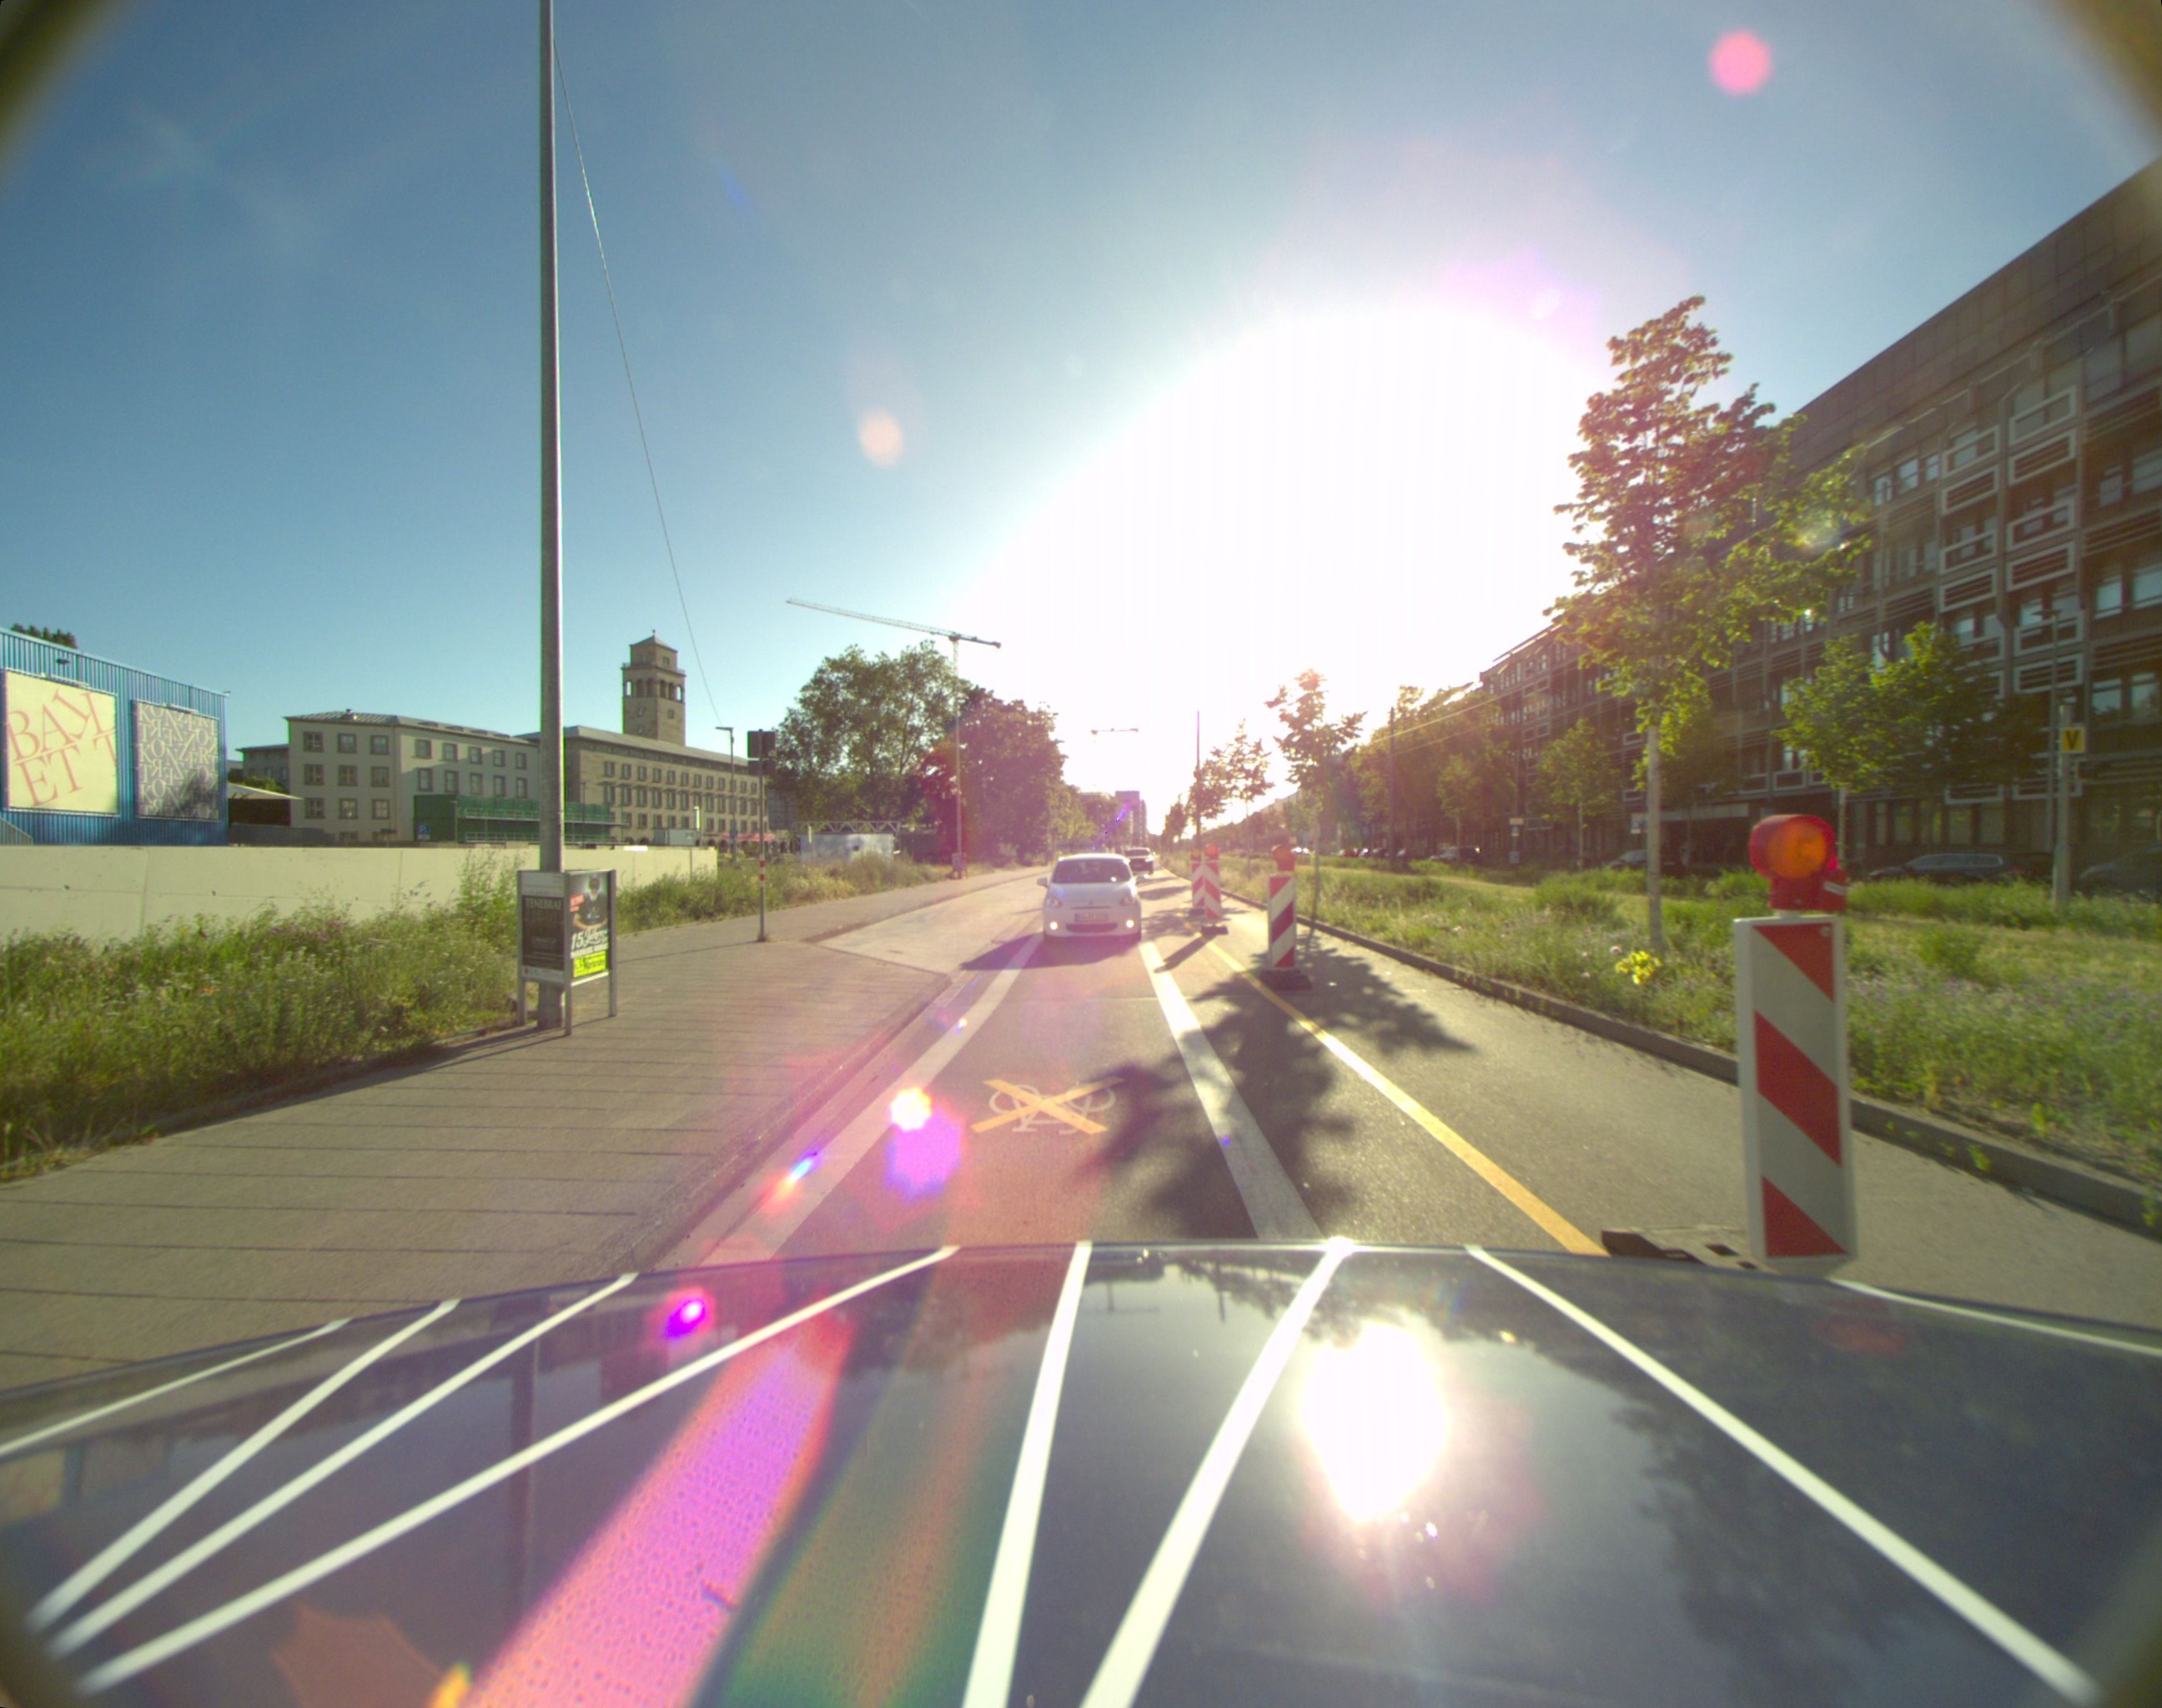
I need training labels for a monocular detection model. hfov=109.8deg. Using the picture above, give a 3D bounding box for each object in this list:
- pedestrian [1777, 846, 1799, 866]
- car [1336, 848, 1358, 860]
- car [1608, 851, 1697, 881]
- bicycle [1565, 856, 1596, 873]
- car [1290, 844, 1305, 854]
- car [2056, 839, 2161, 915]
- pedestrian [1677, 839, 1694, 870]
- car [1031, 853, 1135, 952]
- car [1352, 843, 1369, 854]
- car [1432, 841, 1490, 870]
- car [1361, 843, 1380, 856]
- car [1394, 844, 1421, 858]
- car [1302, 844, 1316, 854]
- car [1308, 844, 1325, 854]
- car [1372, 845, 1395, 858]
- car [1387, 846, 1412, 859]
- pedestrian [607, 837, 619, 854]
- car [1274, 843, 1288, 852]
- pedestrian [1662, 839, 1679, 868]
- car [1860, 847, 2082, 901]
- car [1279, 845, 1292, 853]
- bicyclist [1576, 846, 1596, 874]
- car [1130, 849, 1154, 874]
[{"bbox_3d":[35.462,0.107,38.136,0.618,0.980,0.499,0,1,8],"label":"pedestrian"},{"bbox_3d":[32.962,0.002,94.115,1.719,1.379,4.041,0,0,6],"label":"car"},{"bbox_3d":[28.638,0.565,38.252,1.719,1.379,4.041,-3,0,6],"label":"car"},{"bbox_3d":[26.314,0.547,40.070,0.566,0.872,1.771,0,1,4],"label":"bicycle"},{"bbox_3d":[32.687,-0.715,114.858,1.631,1.487,3.781,0,1,7],"label":"car"},{"bbox_3d":[26.649,0.541,17.991,1.754,1.761,4.332,-2,0,5],"label":"car"},{"bbox_3d":[33.202,0.041,41.752,0.521,1.712,0.536,0,1,9],"label":"pedestrian"},{"bbox_3d":[0.127,0.787,14.040,1.614,1.489,3.395,-3,1,3],"label":"car"},{"bbox_3d":[39.873,-0.780,108.407,1.389,1.593,3.267,-2,1,5],"label":"car"},{"bbox_3d":[23.957,0.053,48.055,1.732,1.736,4.121,-1,1,3],"label":"car"},{"bbox_3d":[39.148,-0.598,102.767,1.510,1.592,3.528,-2,1,5],"label":"car"},{"bbox_3d":[36.971,-0.346,86.048,1.725,1.535,3.632,-2,1,5],"label":"car"},{"bbox_3d":[37.745,-0.844,126.066,1.631,1.487,3.781,0,1,7],"label":"car"},{"bbox_3d":[35.474,-0.767,114.432,1.631,1.487,4.418,0,1,7],"label":"car"},{"bbox_3d":[38.763,-0.327,97.515,1.725,1.593,3.632,-2,1,5],"label":"car"},{"bbox_3d":[38.429,-0.196,91.715,1.726,1.477,3.632,0,1,3],"label":"car"},{"bbox_3d":[-36.372,-0.657,59.087,0.572,1.288,0.441,-2,3,16],"label":"pedestrian"},{"bbox_3d":[36.551,-1.196,139.031,1.864,1.671,3.781,0,1,7],"label":"car"},{"bbox_3d":[32.528,-0.014,41.954,0.521,1.569,0.536,0,1,9],"label":"pedestrian"},{"bbox_3d":[27.062,0.544,23.387,1.733,1.460,4.505,-2,0,4],"label":"car"},{"bbox_3d":[34.938,-0.800,129.902,1.554,1.372,3.781,0,1,7],"label":"car"},{"bbox_3d":[26.277,0.297,39.565,0.566,1.449,0.706,0,1,4],"label":"bicyclist"},{"bbox_3d":[3.980,0.451,49.406,1.458,1.472,3.528,-2,0,5],"label":"car"}]
